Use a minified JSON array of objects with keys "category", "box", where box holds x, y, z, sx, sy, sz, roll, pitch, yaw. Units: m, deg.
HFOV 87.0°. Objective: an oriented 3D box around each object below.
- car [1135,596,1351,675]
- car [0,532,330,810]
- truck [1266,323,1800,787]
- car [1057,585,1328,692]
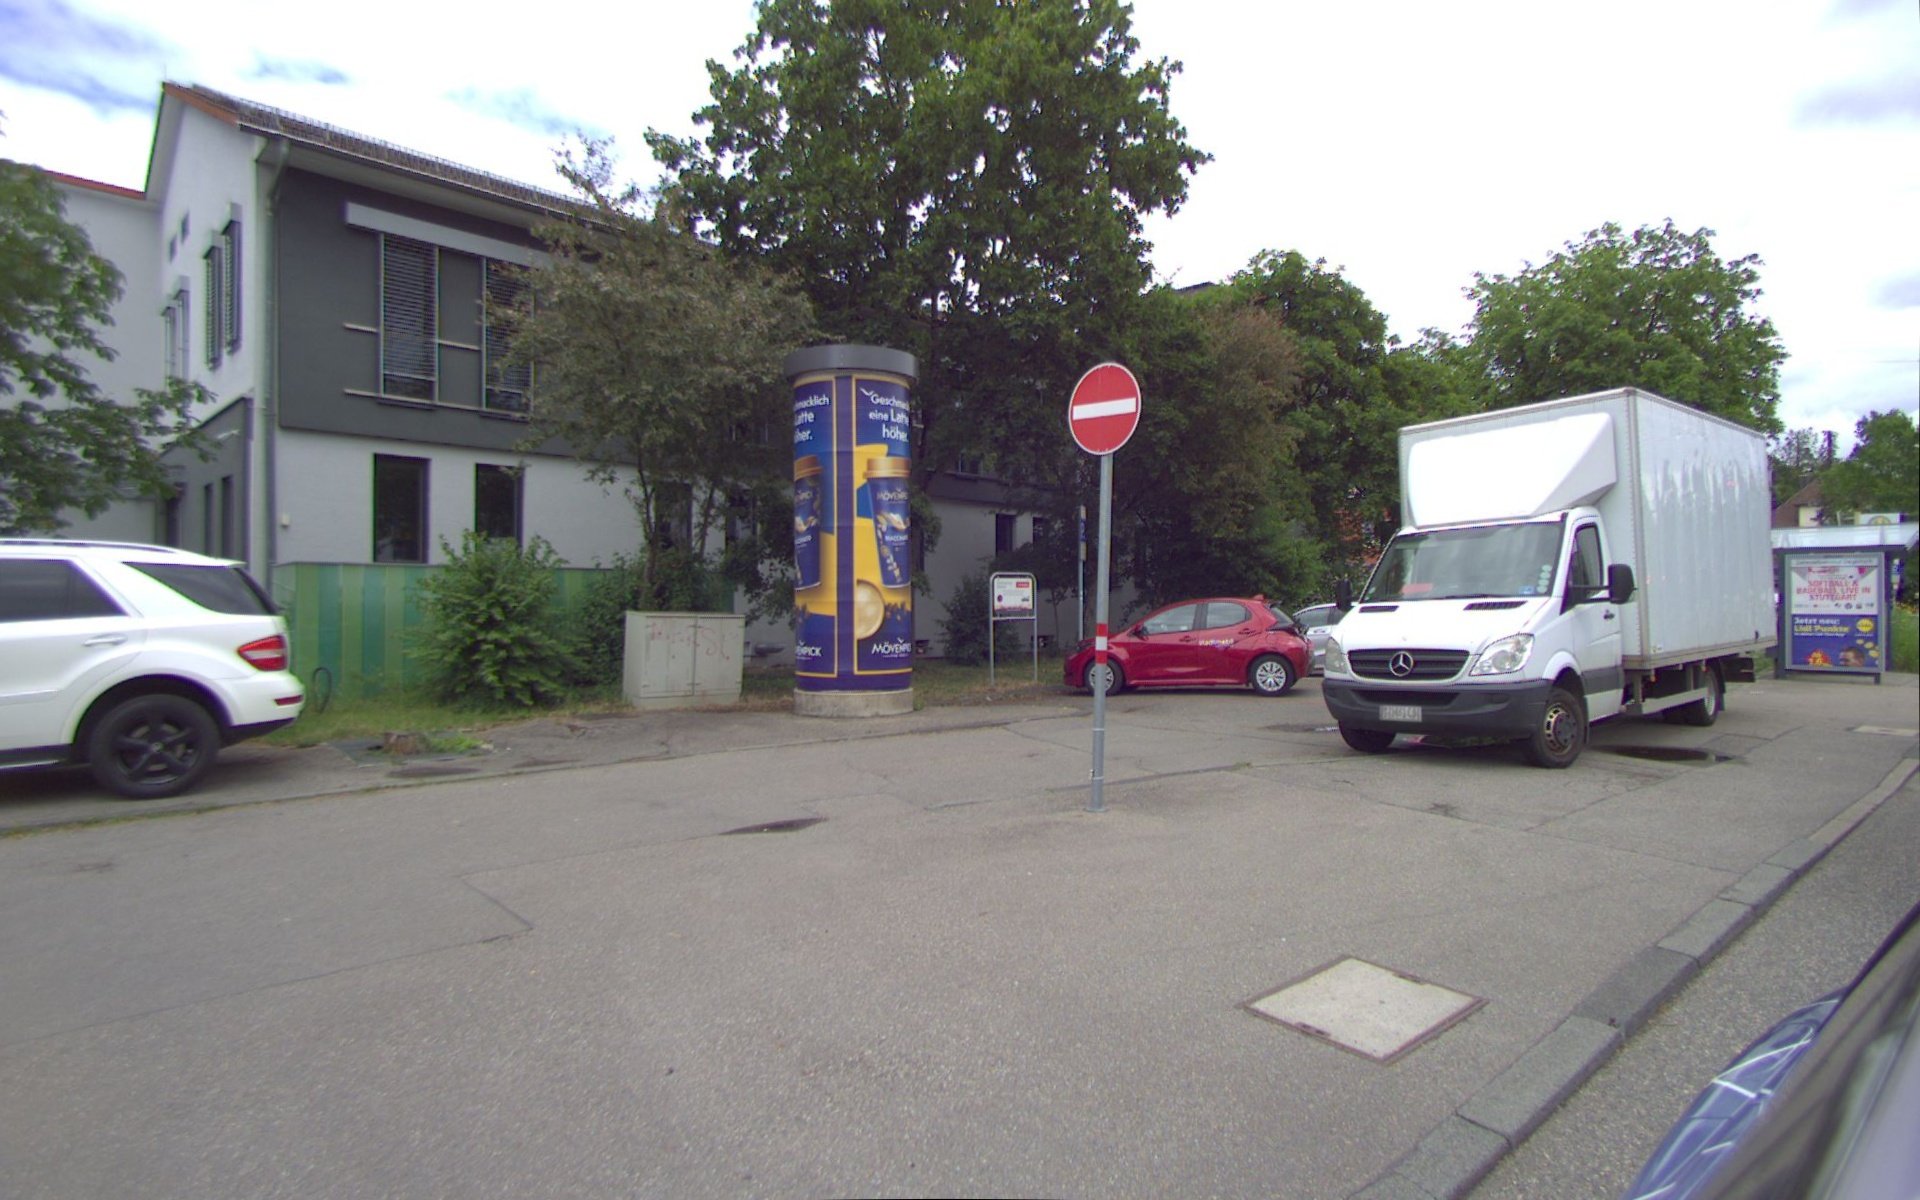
[{"category":"car","box":[5.602,0.711,20.200,3.946,1.428,1.516,-2,-1,18]},{"category":"car","box":[-7.118,0.455,6.837,4.640,1.780,1.855,0,0,-41]},{"category":"truck","box":[6.629,-0.397,11.021,7.638,3.469,2.540,-1,0,-40]},{"category":"car","box":[3.636,0.612,15.863,3.856,1.502,1.669,-2,-1,25]}]
